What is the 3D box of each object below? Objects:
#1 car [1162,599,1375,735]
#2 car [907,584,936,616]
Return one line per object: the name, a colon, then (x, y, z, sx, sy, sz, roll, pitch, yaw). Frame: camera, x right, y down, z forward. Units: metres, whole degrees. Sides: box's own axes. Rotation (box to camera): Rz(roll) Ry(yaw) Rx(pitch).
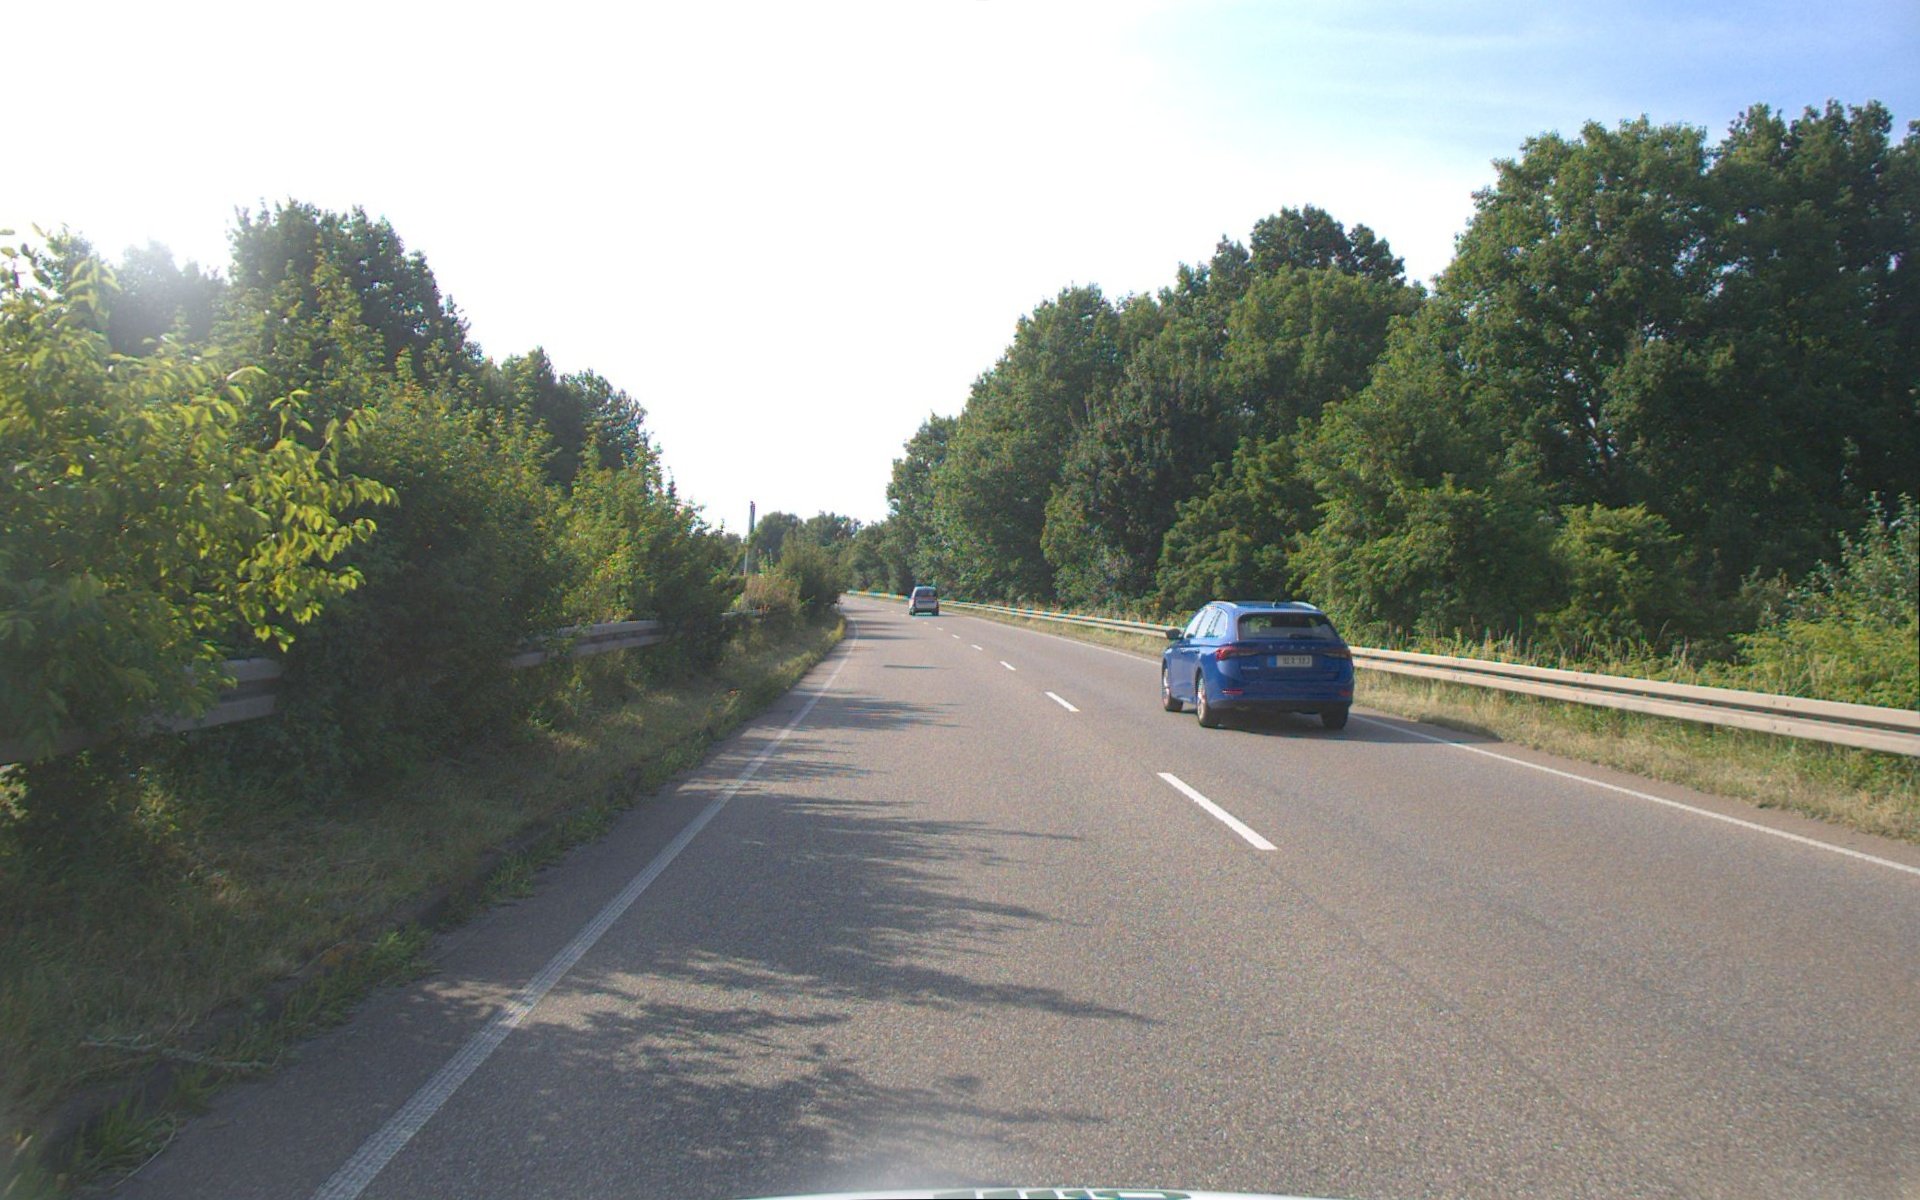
car: (3.670, 0.745, 20.346, 1.743, 1.477, 3.998, 1, 0, -2)
car: (-2.470, 0.000, 105.400, 1.730, 1.914, 3.998, 1, 1, -3)
